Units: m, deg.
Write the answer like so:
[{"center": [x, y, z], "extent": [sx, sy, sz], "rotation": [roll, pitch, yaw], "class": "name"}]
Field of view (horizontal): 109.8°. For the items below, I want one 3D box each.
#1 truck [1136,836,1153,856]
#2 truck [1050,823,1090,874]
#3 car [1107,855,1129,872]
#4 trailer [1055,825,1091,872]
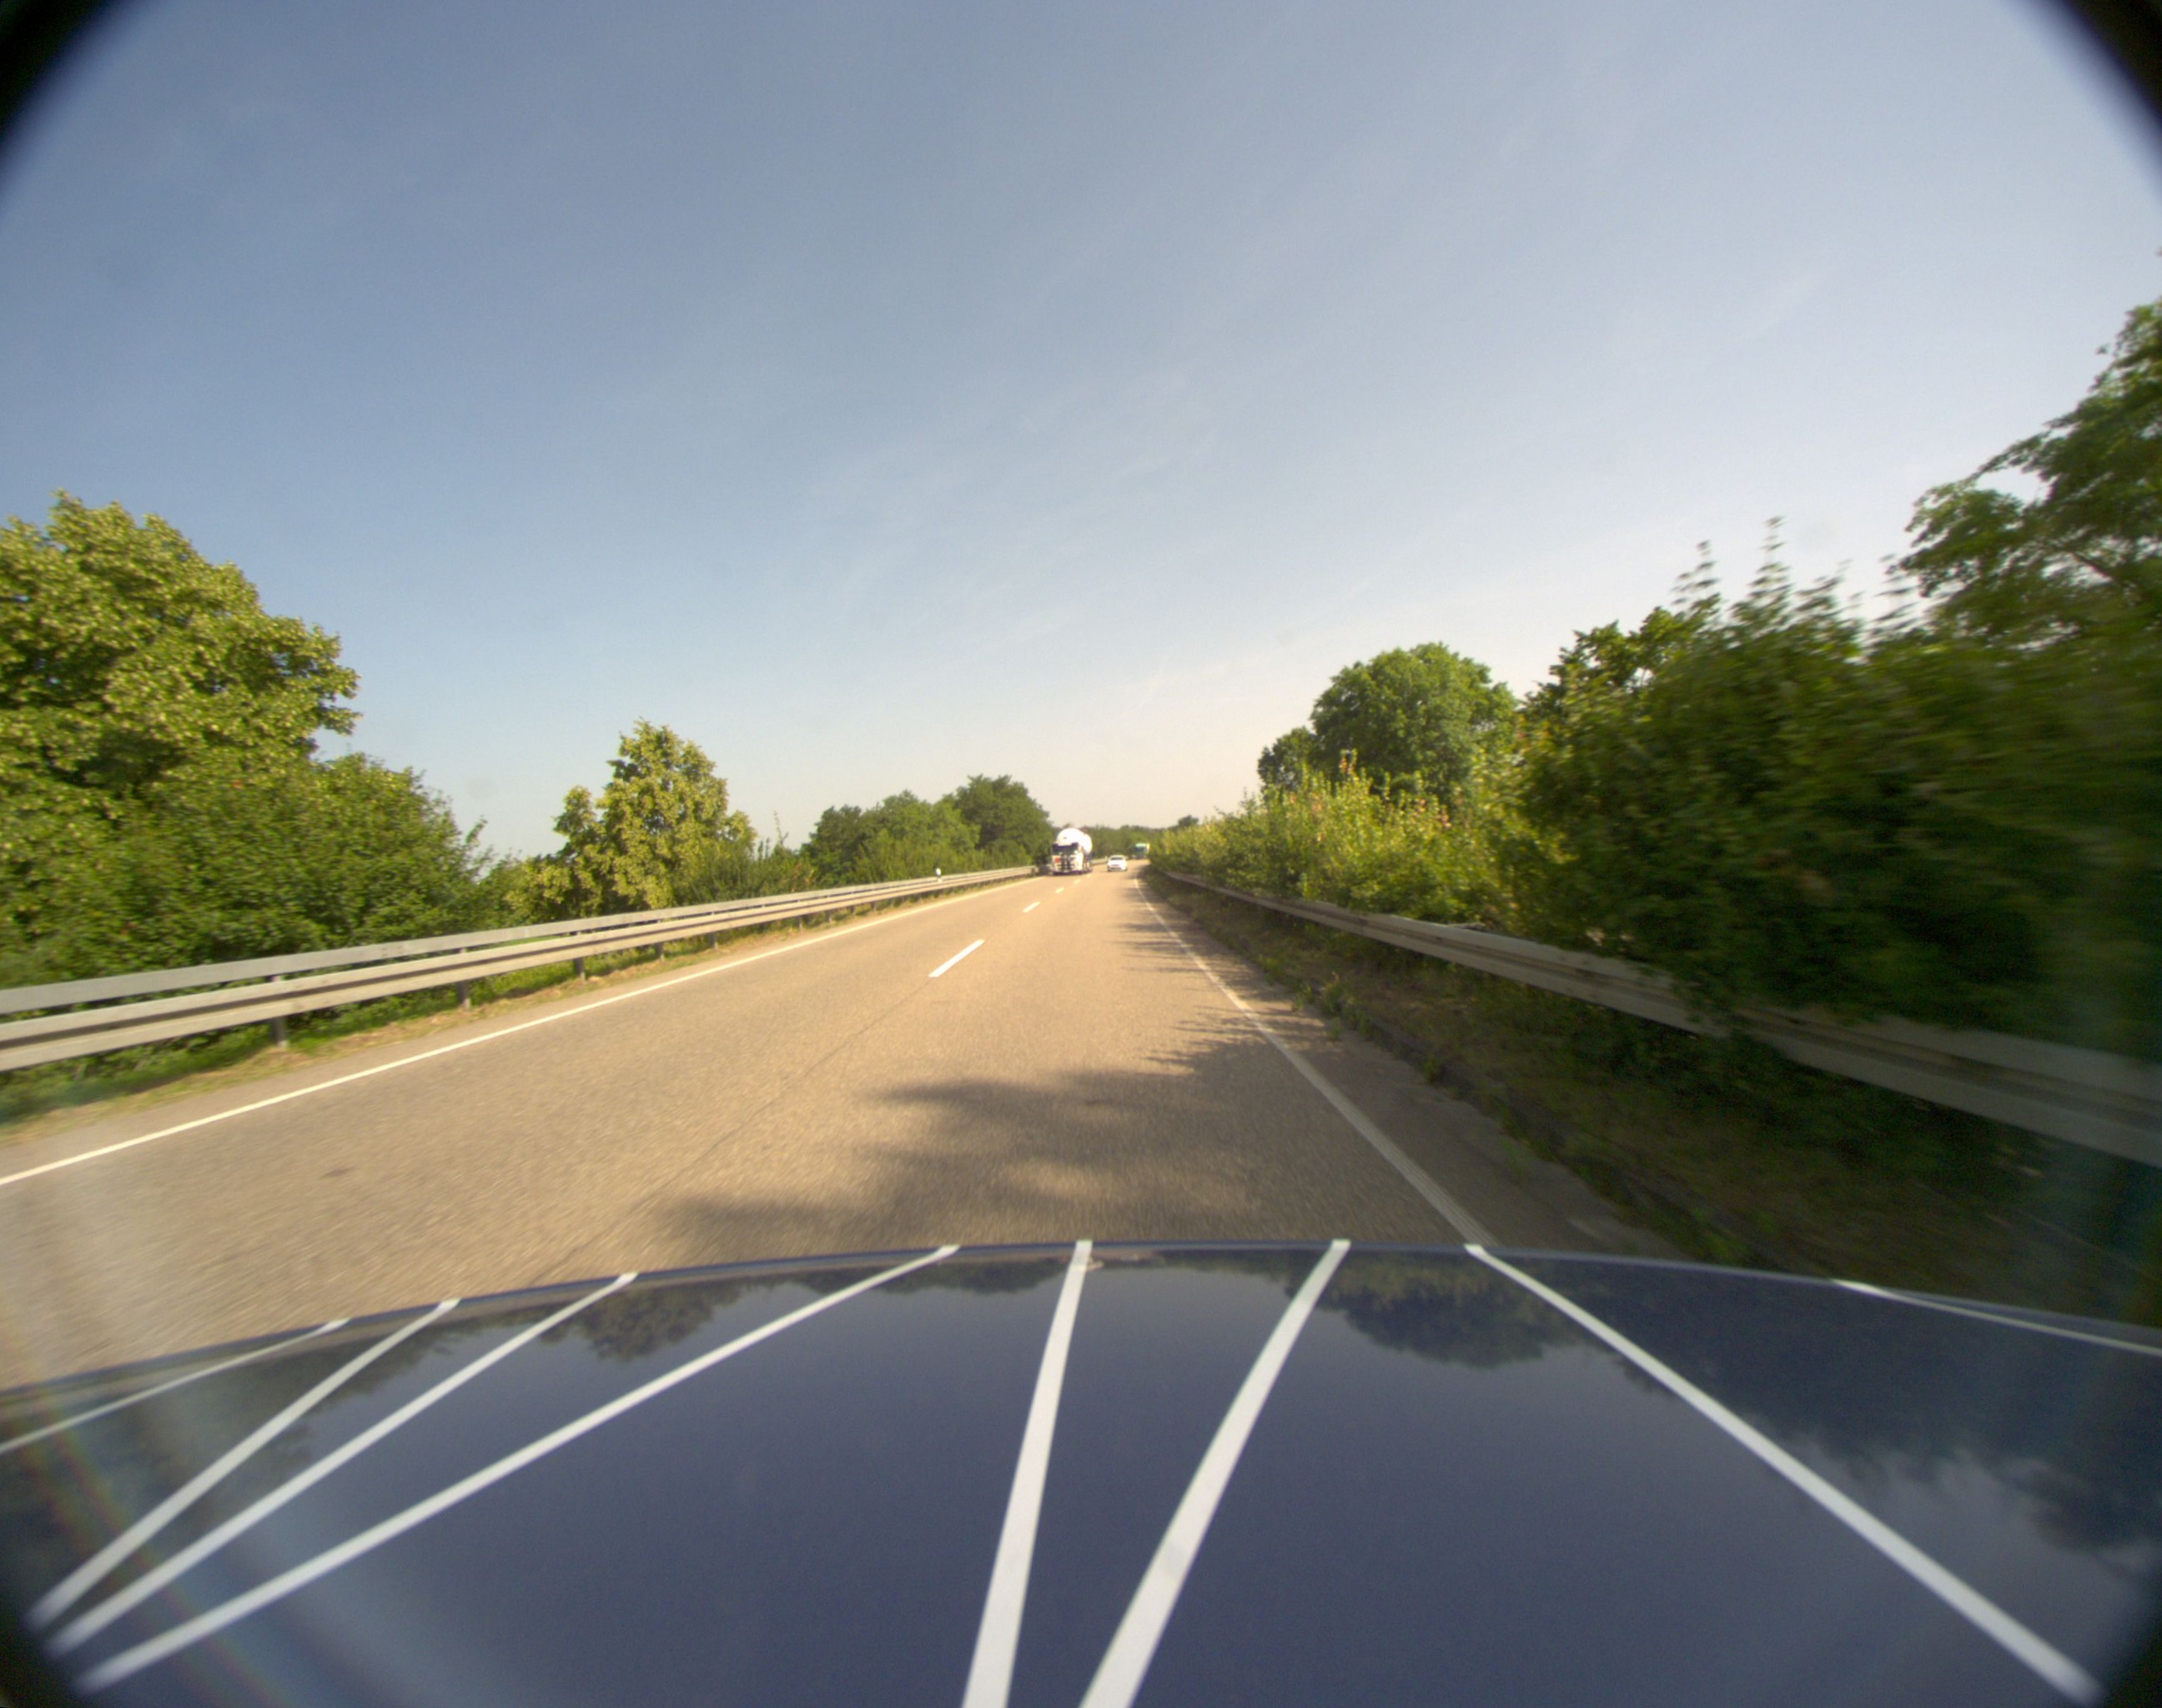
[{"center": [14.145, -1.839, 169.250], "extent": [2.546, 4.136, 8.445], "rotation": [-3, 1, 12], "class": "truck"}, {"center": [-0.846, -0.504, 63.851], "extent": [2.778, 3.939, 5.628], "rotation": [-2, 1, 3], "class": "truck"}, {"center": [3.517, 0.881, 71.079], "extent": [1.788, 1.427, 4.001], "rotation": [-3, 1, 5], "class": "car"}, {"center": [-0.623, -0.539, 69.384], "extent": [2.763, 3.968, 8.186], "rotation": [-2, 1, 2], "class": "trailer"}]
